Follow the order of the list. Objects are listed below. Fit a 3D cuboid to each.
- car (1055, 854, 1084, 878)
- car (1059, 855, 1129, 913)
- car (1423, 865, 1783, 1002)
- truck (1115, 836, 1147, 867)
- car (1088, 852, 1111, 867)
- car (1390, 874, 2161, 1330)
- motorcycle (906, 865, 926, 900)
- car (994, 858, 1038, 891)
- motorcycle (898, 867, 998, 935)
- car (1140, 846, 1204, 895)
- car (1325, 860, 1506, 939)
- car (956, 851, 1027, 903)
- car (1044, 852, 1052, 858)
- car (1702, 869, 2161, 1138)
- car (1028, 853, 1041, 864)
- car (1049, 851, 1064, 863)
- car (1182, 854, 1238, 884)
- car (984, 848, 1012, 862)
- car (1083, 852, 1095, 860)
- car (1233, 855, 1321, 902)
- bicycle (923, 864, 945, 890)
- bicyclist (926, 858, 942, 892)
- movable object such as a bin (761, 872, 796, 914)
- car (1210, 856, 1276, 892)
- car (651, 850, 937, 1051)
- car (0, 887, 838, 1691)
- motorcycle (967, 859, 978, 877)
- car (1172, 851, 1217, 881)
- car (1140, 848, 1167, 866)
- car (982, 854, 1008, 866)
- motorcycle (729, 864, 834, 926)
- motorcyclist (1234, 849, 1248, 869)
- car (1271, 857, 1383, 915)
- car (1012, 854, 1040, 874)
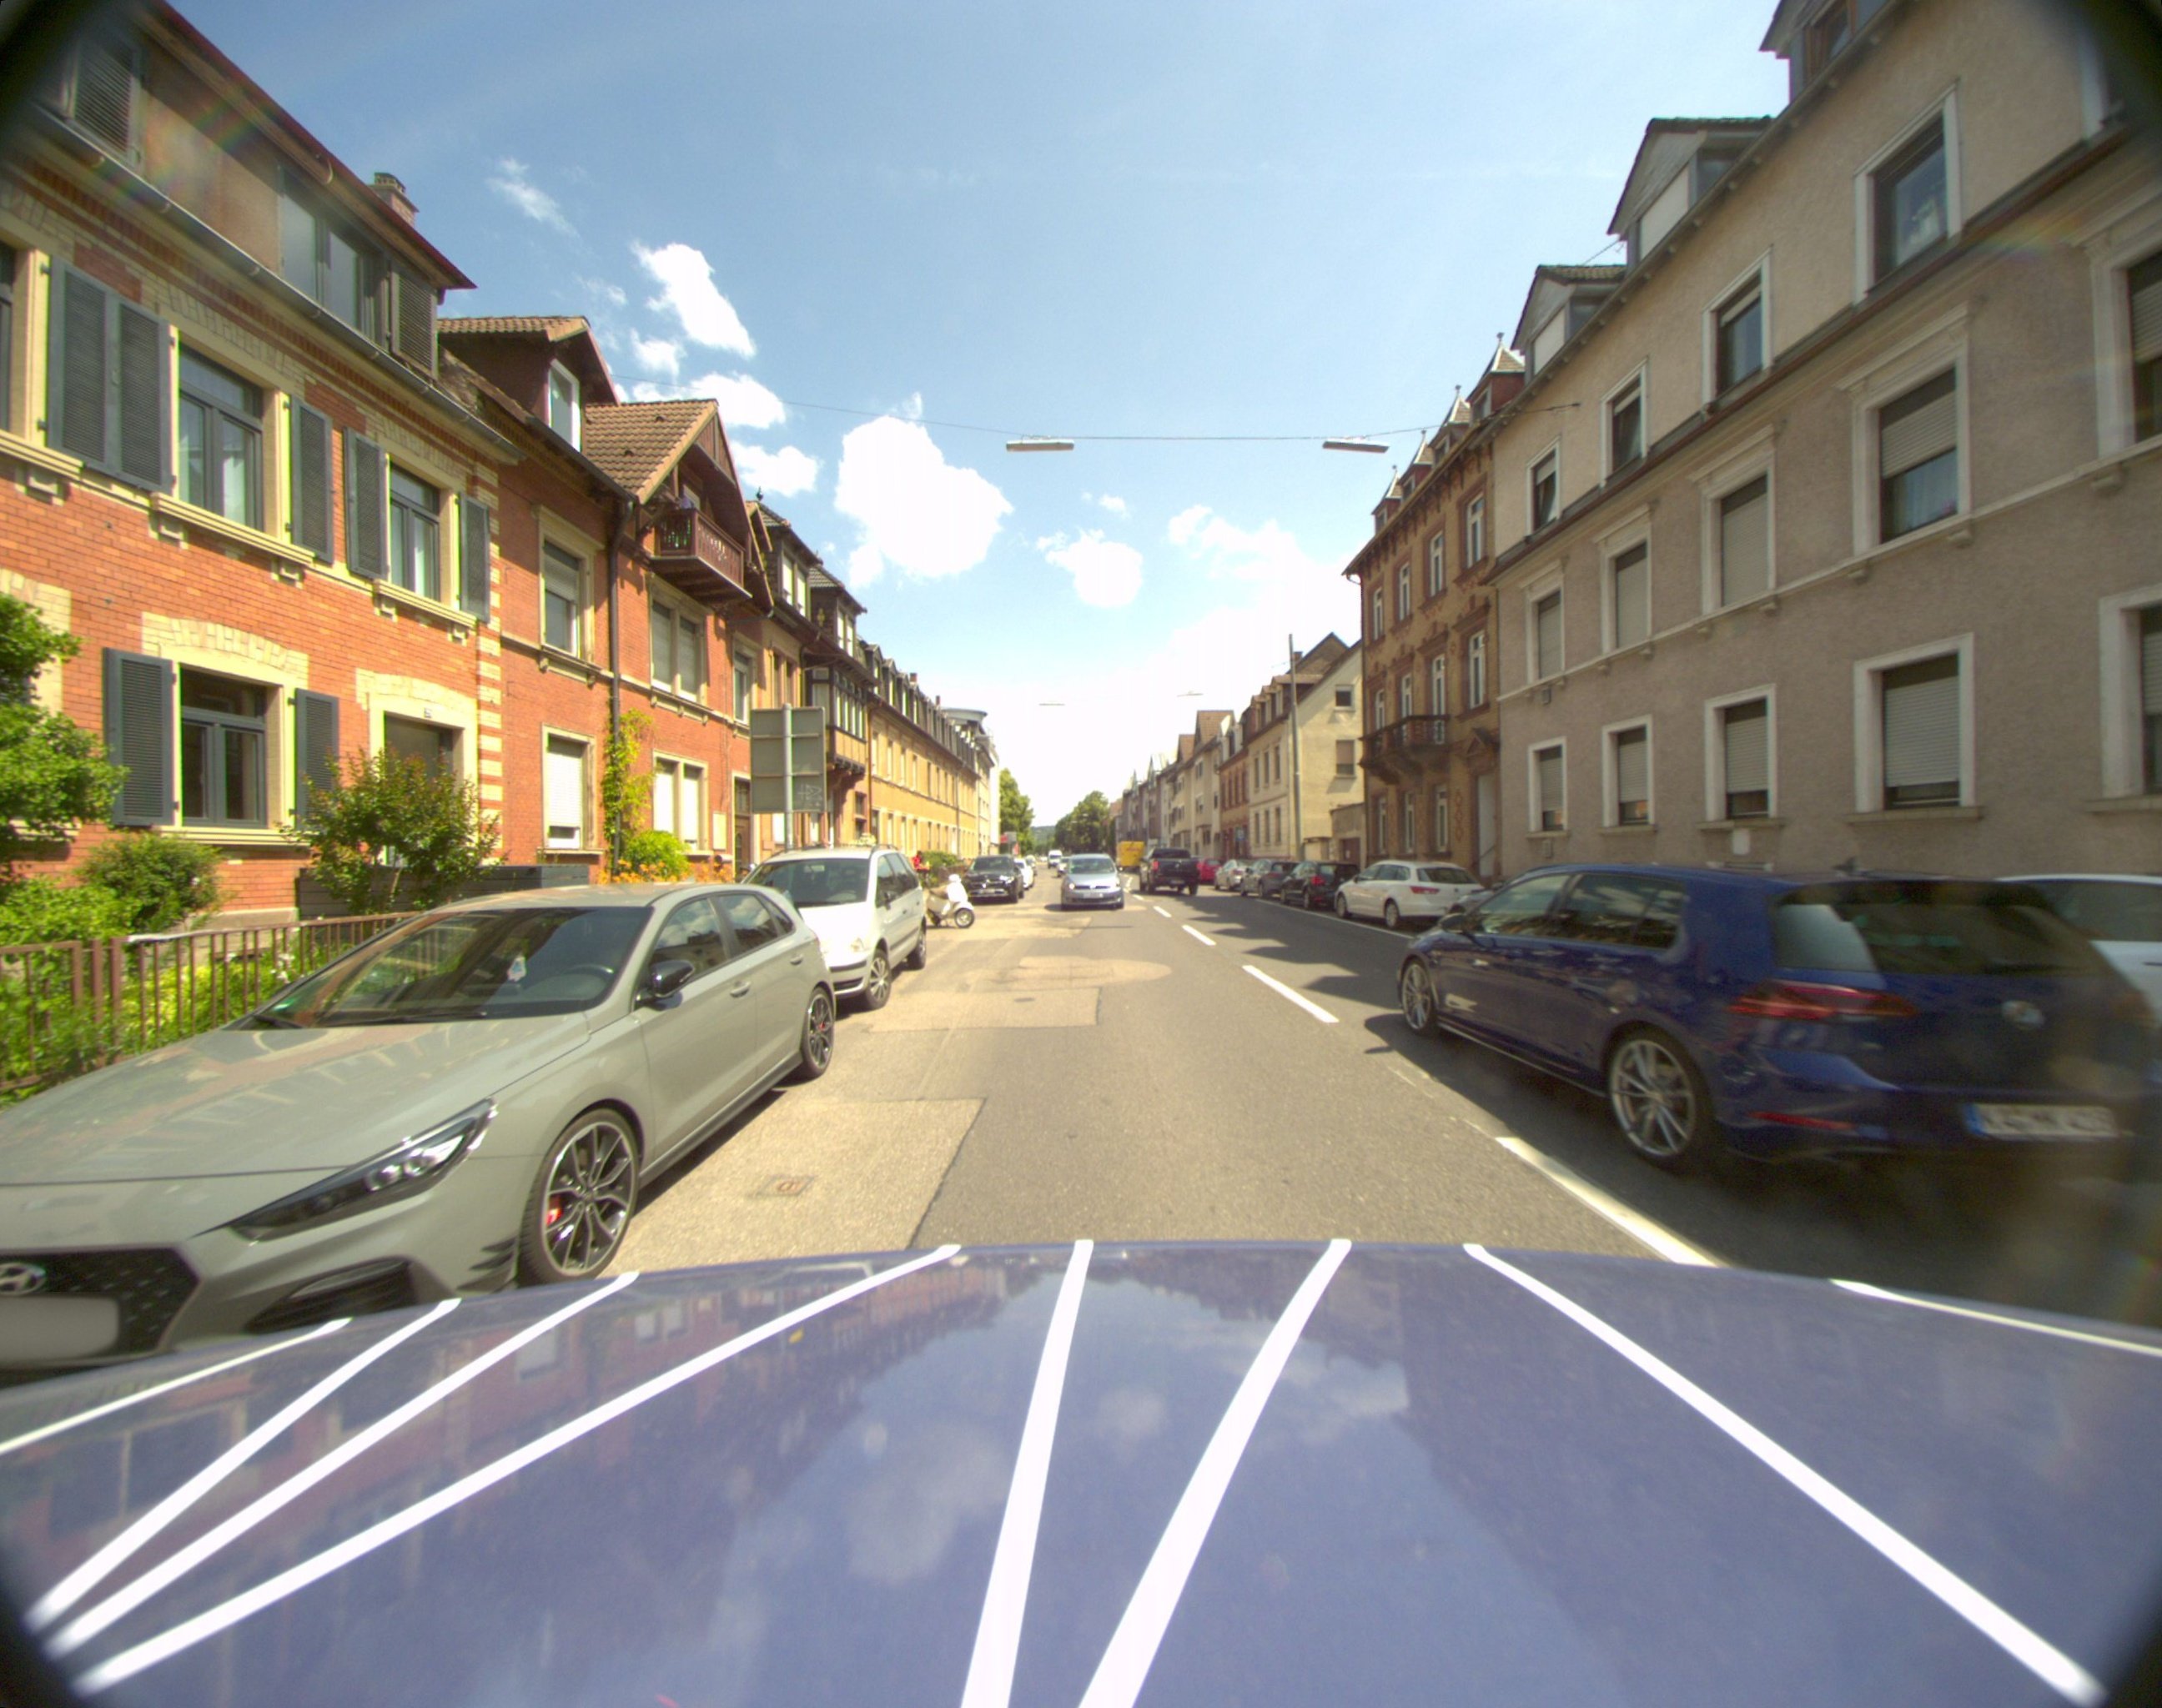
[{"bbox_3d":[-0.802,0.808,54.564,1.999,1.652,4.624,0,0,-1],"label":"car"},{"bbox_3d":[0.300,0.818,22.545,1.747,1.513,4.221,-1,0,-4],"label":"car"},{"bbox_3d":[7.044,0.956,11.041,1.845,1.414,4.644,1,1,-3],"label":"car"},{"bbox_3d":[4.671,-0.211,71.968,2.231,2.755,7.561,1,0,-2],"label":"truck"},{"bbox_3d":[1.732,0.512,72.896,1.795,1.412,4.313,0,0,-3],"label":"car"},{"bbox_3d":[3.528,0.873,4.501,1.820,1.380,4.000,0,0,1],"label":"car"},{"bbox_3d":[-5.924,1.005,27.311,0.441,1.230,1.358,1,0,-1],"label":"motorcycle"},{"bbox_3d":[-3.003,0.933,35.942,1.721,1.406,4.588,0,0,-1],"label":"car"},{"bbox_3d":[-2.982,1.005,17.005,1.990,1.377,1.115,-1,1,38],"label":"motorcycle"},{"bbox_3d":[3.545,0.597,30.609,1.998,1.782,5.148,0,0,0],"label":"car"},{"bbox_3d":[7.204,0.895,16.979,1.845,1.414,4.500,1,1,-3],"label":"car"},{"bbox_3d":[-3.021,0.732,26.673,1.999,1.652,4.624,0,0,-1],"label":"car"},{"bbox_3d":[-7.257,0.225,167.473,1.721,1.406,4.588,0,0,-1],"label":"car"},{"bbox_3d":[7.019,0.913,5.155,1.844,1.414,4.557,2,1,0],"label":"car"},{"bbox_3d":[-7.139,0.646,115.537,1.772,1.476,3.888,-1,1,-6],"label":"car"},{"bbox_3d":[-2.995,0.374,94.336,1.721,1.406,4.588,0,0,-1],"label":"car"},{"bbox_3d":[6.762,0.766,40.255,1.845,1.414,4.500,2,0,-4],"label":"car"},{"bbox_3d":[-14.719,0.236,134.640,4.615,2.263,2.105,-3,1,-3],"label":"car"},{"bbox_3d":[1.627,0.405,156.285,1.892,1.531,4.566,0,0,-5],"label":"car"},{"bbox_3d":[7.146,0.843,28.202,1.845,1.414,4.500,4,1,-3],"label":"car"},{"bbox_3d":[-6.358,0.996,32.888,0.595,1.060,1.882,0,0,0],"label":"bicycle"},{"bbox_3d":[-6.403,0.897,33.093,0.534,1.461,0.790,0,1,0],"label":"bicyclist"},{"bbox_3d":[-8.067,1.025,20.280,0.610,1.070,0.761,-1,1,0],"label":"movable object such as a bin"},{"bbox_3d":[7.137,0.826,33.969,1.845,1.414,4.501,1,1,-2],"label":"car"},{"bbox_3d":[-3.031,0.875,9.203,1.865,1.737,4.616,-2,0,-3],"label":"car"},{"bbox_3d":[-2.775,1.031,3.719,1.865,1.478,4.308,-2,0,-2],"label":"car"},{"bbox_3d":[-7.536,0.965,53.039,0.597,1.218,1.361,-1,1,-2],"label":"motorcycle"},{"bbox_3d":[6.748,0.660,45.526,1.845,1.587,4.501,3,1,-2],"label":"car"},{"bbox_3d":[7.109,0.278,74.813,1.845,1.586,4.384,-3,1,-4],"label":"car"},{"bbox_3d":[-12.860,0.862,112.979,3.775,1.657,1.662,0,1,-8],"label":"car"},{"bbox_3d":[-7.146,0.959,18.221,2.135,1.400,0.937,1,1,-1],"label":"motorcycle"},{"bbox_3d":[9.715,0.294,46.172,0.720,1.241,0.712,-1,1,-2],"label":"motorcyclist"},{"bbox_3d":[7.213,0.883,22.787,1.844,1.414,4.502,3,1,0],"label":"car"},{"bbox_3d":[-4.428,0.800,60.400,1.860,1.455,4.546,-1,1,-9],"label":"car"}]
